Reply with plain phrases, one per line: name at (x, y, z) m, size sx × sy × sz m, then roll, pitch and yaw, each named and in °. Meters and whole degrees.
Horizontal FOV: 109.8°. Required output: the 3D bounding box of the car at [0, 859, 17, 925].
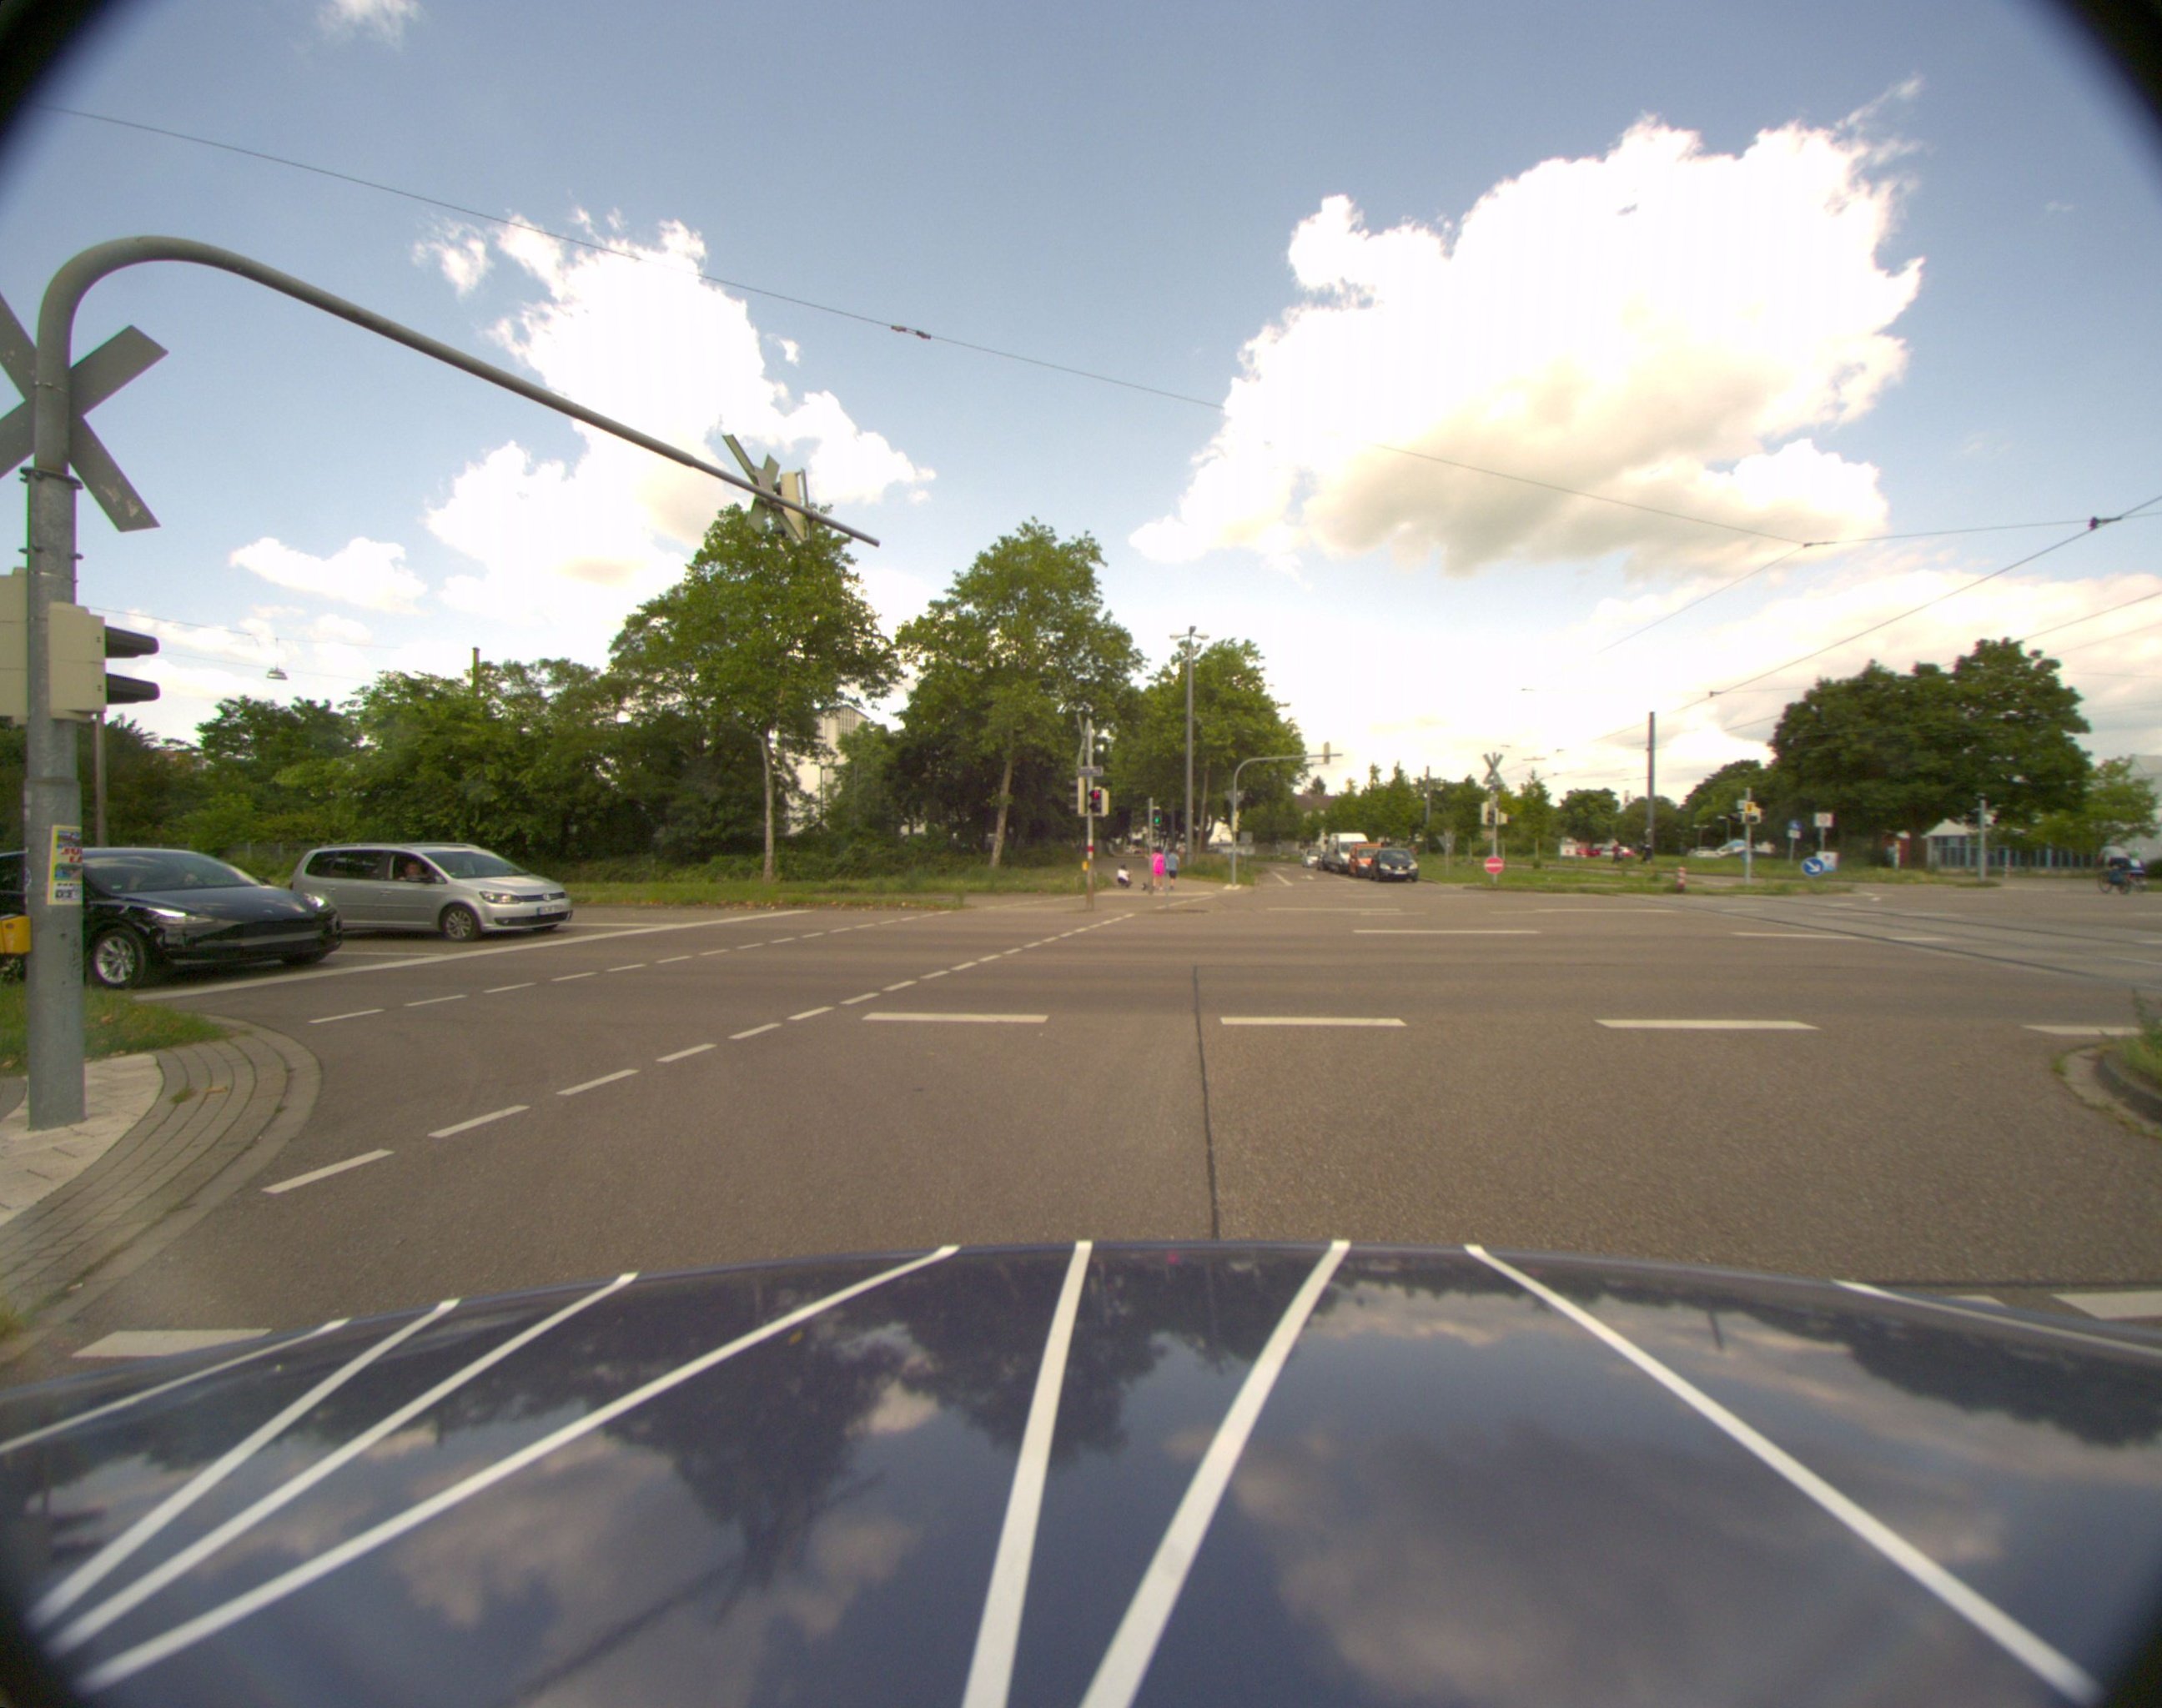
car at (-24.757, 0.831, 15.441) m, size 4.337 × 1.367 × 1.765 m, roll 0°, pitch 3°, yaw 8°

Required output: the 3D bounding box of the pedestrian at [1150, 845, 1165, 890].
pedestrian at (2.775, 0.483, 27.596) m, size 0.421 × 1.610 × 0.597 m, roll 0°, pitch 1°, yaw 18°

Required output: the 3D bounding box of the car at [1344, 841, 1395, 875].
car at (15.897, 0.197, 42.017) m, size 1.881 × 1.789 × 4.373 m, roll 0°, pitch 1°, yaw 10°

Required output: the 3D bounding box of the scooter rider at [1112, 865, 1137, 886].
scooter rider at (1.612, 0.788, 28.169) m, size 0.610 × 0.725 × 0.861 m, roll -2°, pitch 1°, yaw 28°

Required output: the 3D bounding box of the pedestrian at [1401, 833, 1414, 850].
pedestrian at (39.294, -1.499, 91.446) m, size 1.106 × 2.002 × 1.176 m, roll 0°, pitch 1°, yaw -5°

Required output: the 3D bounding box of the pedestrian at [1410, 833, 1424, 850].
pedestrian at (40.449, -1.493, 91.582) m, size 1.106 × 2.002 × 1.176 m, roll 0°, pitch 1°, yaw -6°

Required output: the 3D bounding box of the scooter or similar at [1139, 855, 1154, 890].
scooter or similar at (2.388, 0.674, 27.802) m, size 0.321 × 1.225 × 0.777 m, roll -2°, pitch 1°, yaw 20°

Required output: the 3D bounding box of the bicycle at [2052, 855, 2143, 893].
bicycle at (33.693, 0.638, 25.236) m, size 0.949 × 1.147 × 1.987 m, roll 0°, pitch 1°, yaw 25°

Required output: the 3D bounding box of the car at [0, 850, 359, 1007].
car at (-12.134, 0.810, 9.615) m, size 4.572 × 1.643 × 1.932 m, roll 0°, pitch 3°, yaw 10°

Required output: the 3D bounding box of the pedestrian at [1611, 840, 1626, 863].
pedestrian at (39.131, -0.178, 55.320) m, size 0.613 × 1.635 × 0.638 m, roll -2°, pitch 1°, yaw -5°

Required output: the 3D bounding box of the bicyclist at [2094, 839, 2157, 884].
bicyclist at (35.307, 0.243, 25.701) m, size 0.961 × 1.480 × 0.837 m, roll 0°, pitch 1°, yaw 25°

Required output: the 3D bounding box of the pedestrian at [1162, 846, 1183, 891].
pedestrian at (3.292, 0.527, 27.392) m, size 0.631 × 1.610 × 0.611 m, roll 0°, pitch 1°, yaw 18°

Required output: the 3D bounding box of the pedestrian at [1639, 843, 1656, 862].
pedestrian at (40.538, -0.106, 54.356) m, size 0.650 × 1.346 × 0.753 m, roll -2°, pitch 1°, yaw 9°

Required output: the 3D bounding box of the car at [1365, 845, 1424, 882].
car at (14.680, 0.399, 35.770) m, size 1.733 × 1.621 × 4.055 m, roll 0°, pitch 1°, yaw 10°

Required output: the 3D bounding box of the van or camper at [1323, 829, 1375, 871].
van or camper at (17.038, -0.225, 48.635) m, size 1.979 × 2.509 × 6.041 m, roll 0°, pitch 0°, yaw 8°

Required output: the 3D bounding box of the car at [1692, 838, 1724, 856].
car at (59.729, -0.658, 72.431) m, size 1.994 × 1.630 × 4.399 m, roll 0°, pitch 1°, yaw 34°

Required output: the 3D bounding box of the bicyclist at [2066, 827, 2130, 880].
bicyclist at (33.673, -0.022, 25.178) m, size 0.961 × 1.712 × 0.837 m, roll 0°, pitch 1°, yaw 25°

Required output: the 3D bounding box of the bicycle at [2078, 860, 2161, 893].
bicycle at (35.358, 0.741, 25.822) m, size 0.949 × 1.034 × 1.987 m, roll 0°, pitch 1°, yaw 25°

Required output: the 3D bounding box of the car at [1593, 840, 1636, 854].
car at (60.209, -0.753, 85.801) m, size 3.988 × 1.521 × 2.004 m, roll 0°, pitch 1°, yaw 35°

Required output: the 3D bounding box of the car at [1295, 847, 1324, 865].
car at (18.971, 0.120, 63.199) m, size 1.809 × 1.423 × 4.385 m, roll 0°, pitch 1°, yaw 10°

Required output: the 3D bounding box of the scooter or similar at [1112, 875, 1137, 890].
scooter or similar at (1.623, 1.062, 28.179) m, size 0.610 × 0.508 × 0.859 m, roll -2°, pitch 1°, yaw 28°

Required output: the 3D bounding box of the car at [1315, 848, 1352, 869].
car at (18.262, 0.275, 55.095) m, size 1.809 × 1.423 × 4.471 m, roll 0°, pitch 1°, yaw 8°

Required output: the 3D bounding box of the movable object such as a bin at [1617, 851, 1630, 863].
movable object such as a bin at (39.186, 0.227, 54.852) m, size 0.579 × 0.807 × 0.459 m, roll -2°, pitch 1°, yaw -6°

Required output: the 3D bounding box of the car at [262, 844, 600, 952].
car at (-11.208, 0.693, 13.273) m, size 4.495 × 1.643 × 1.931 m, roll 0°, pitch 3°, yaw 8°
